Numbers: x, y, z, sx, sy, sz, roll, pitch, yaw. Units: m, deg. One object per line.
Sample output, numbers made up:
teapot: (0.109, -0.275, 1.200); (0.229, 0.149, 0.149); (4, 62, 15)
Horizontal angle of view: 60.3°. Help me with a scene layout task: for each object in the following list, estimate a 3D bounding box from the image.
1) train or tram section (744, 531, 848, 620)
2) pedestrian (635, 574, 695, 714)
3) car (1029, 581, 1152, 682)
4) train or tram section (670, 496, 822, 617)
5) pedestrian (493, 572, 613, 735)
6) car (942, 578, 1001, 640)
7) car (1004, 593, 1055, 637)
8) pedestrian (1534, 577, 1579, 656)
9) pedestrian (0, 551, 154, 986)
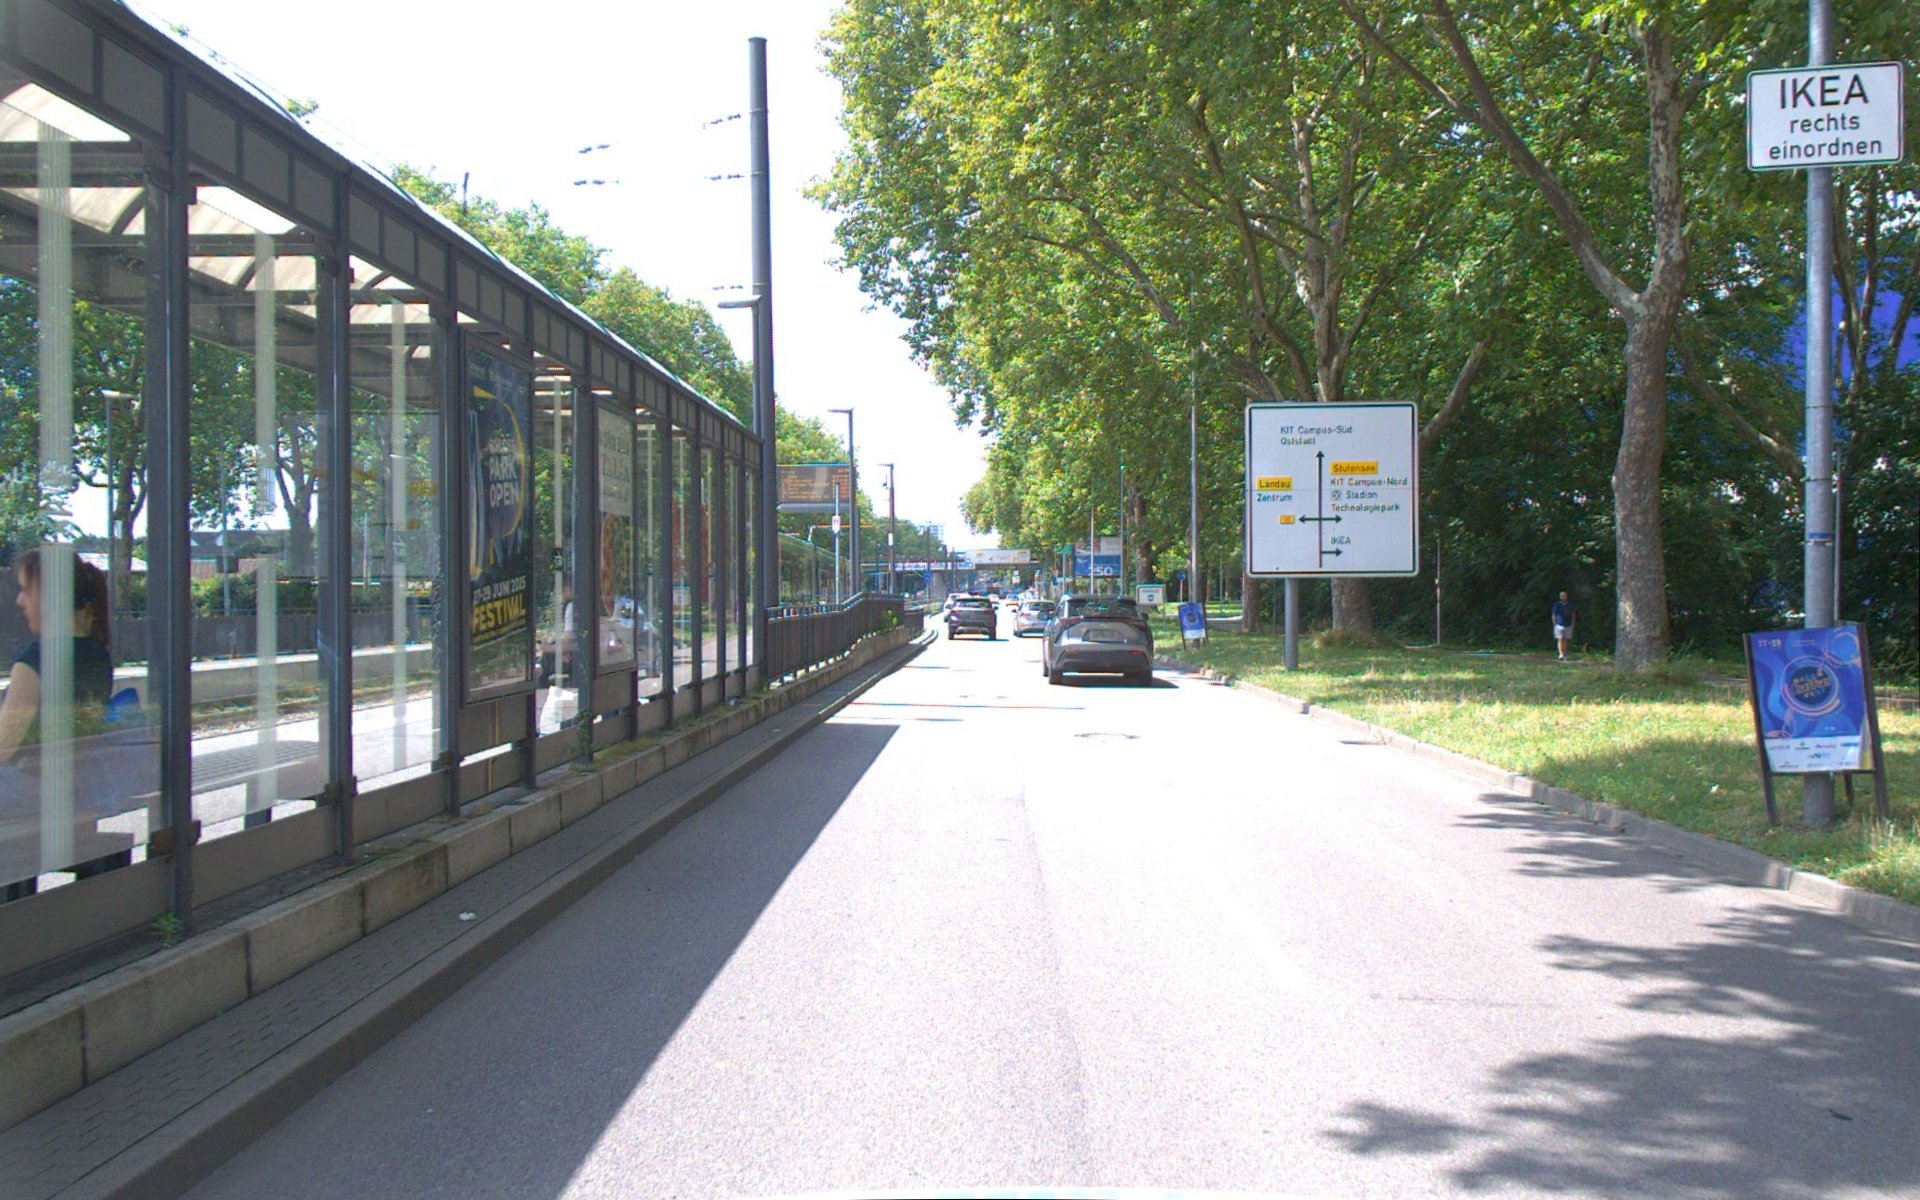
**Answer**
train or tram section: (-6.280, -0.913, 64.923); (2.974, 3.242, 9.448); (0, 0, 1)
pedestrian: (-2.730, 0.404, 15.349); (0.487, 1.274, 0.468); (0, 1, -3)
car: (2.318, 0.569, 30.414); (1.859, 1.704, 4.519); (0, -1, 0)
train or tram section: (-6.344, -1.202, 51.646); (2.975, 3.242, 14.099); (0, 0, 0)
pedestrian: (-3.160, 0.402, 12.890); (0.770, 1.230, 0.699); (0, 0, -2)
car: (0.458, 0.293, 59.963); (1.952, 2.023, 4.365); (1, 2, 2)
car: (2.683, 0.558, 64.978); (1.794, 1.658, 4.296); (0, 0, 0)
pedestrian: (15.899, 0.429, 44.094); (0.819, 2.049, 0.957); (2, 0, 0)
pedestrian: (-2.918, 0.460, 4.935); (0.679, 1.211, 0.642); (1, 0, 1)
